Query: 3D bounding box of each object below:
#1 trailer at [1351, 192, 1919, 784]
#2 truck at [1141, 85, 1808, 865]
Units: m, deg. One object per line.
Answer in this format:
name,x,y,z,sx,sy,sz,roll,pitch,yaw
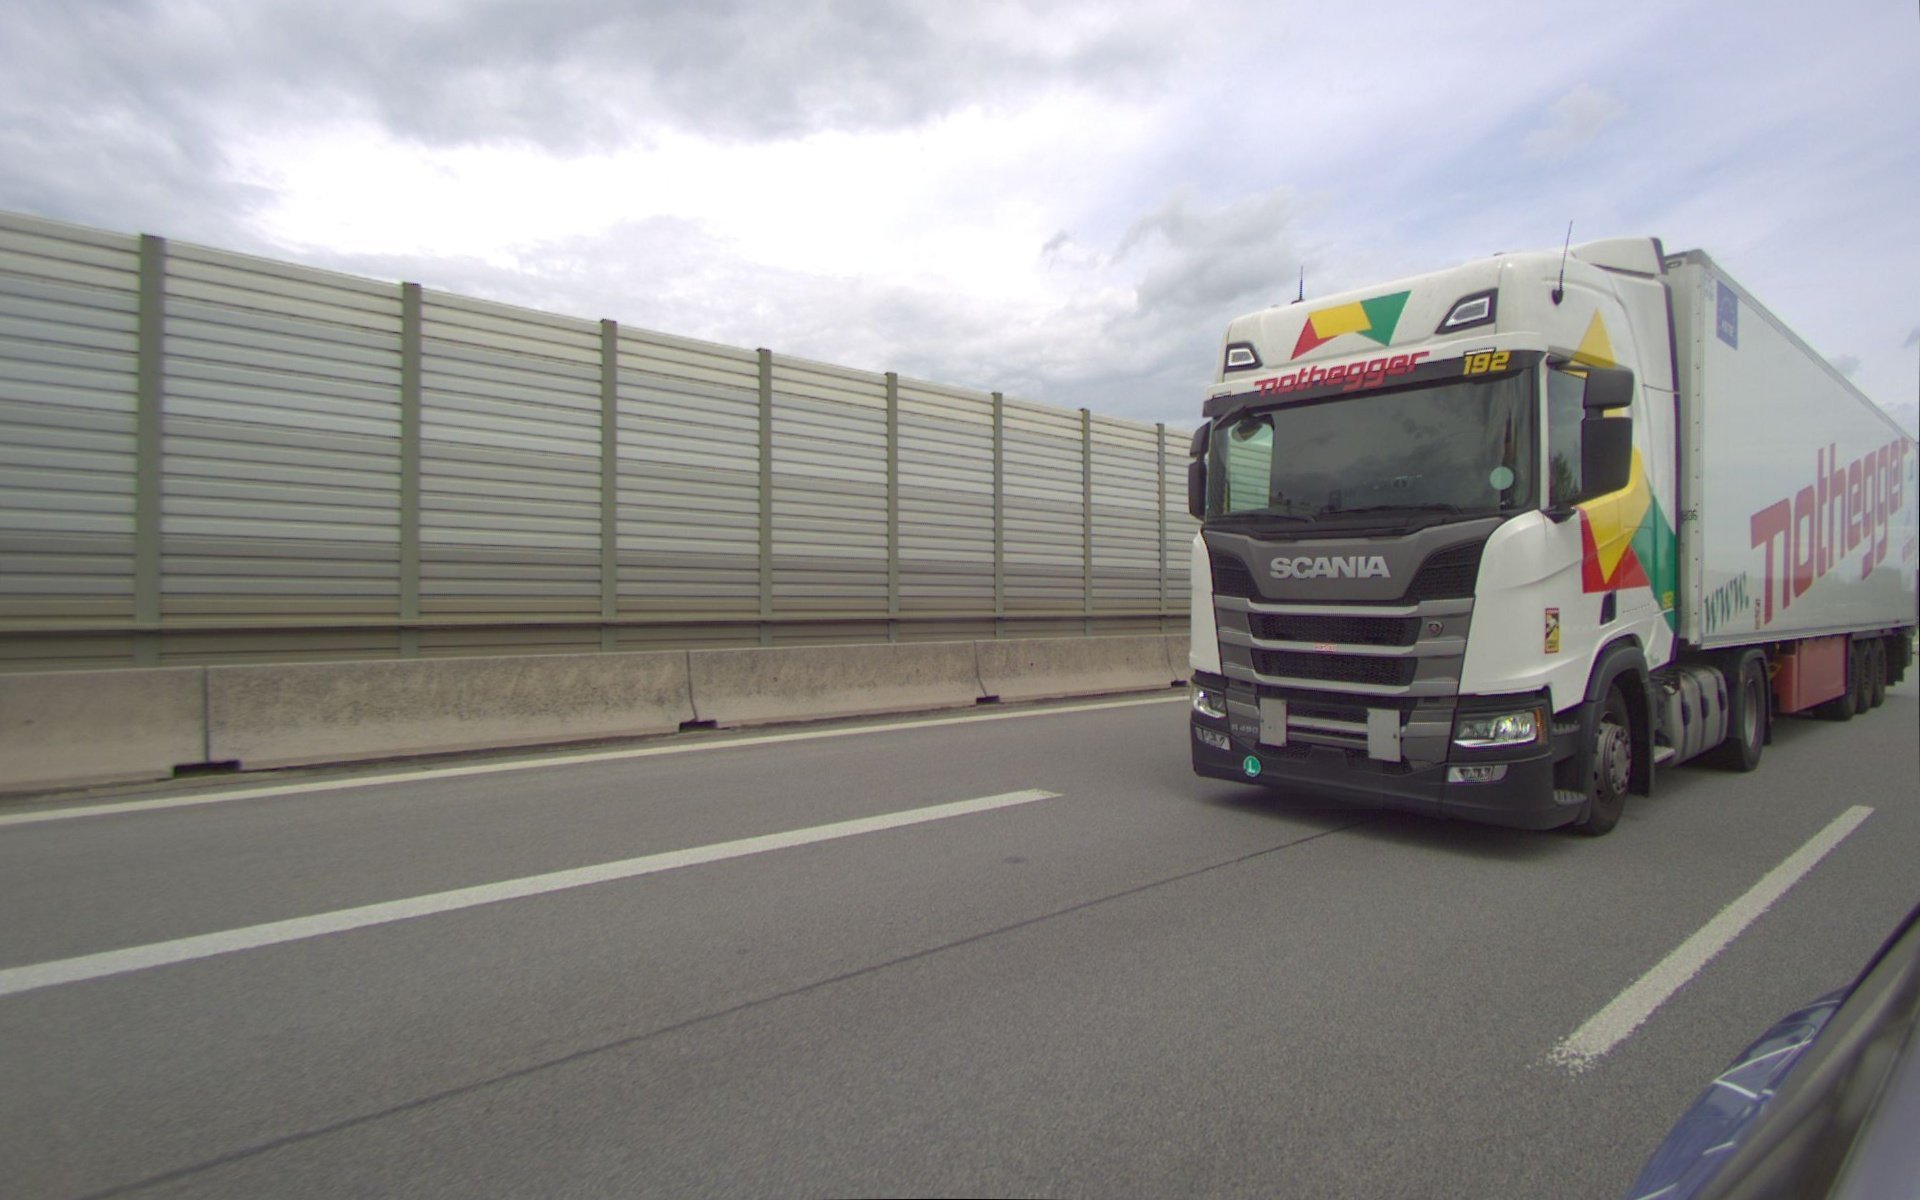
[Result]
trailer,9.756,-0.771,12.844,13.855,4.227,2.797,1,0,-41
truck,4.340,-0.643,8.061,5.575,4.010,2.762,1,0,-40
